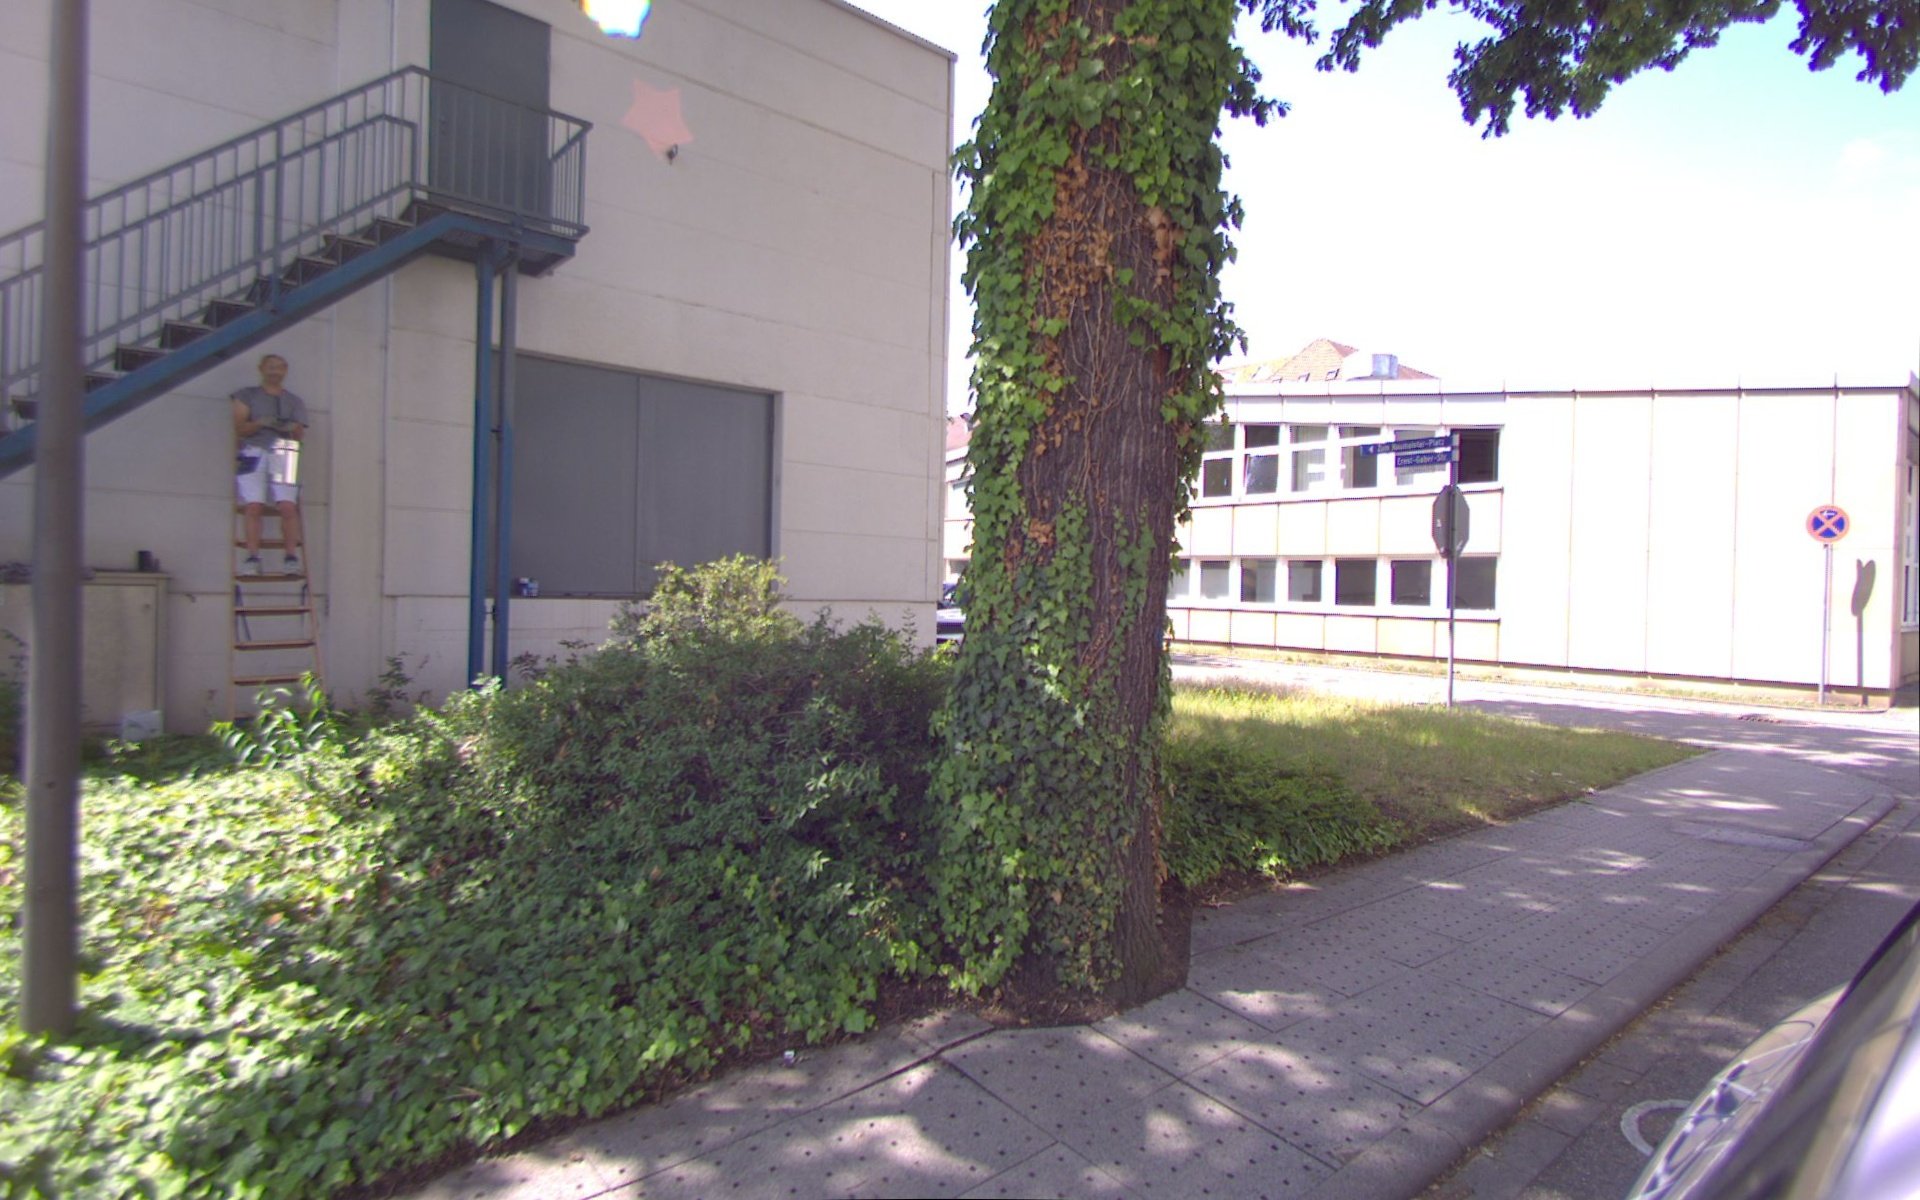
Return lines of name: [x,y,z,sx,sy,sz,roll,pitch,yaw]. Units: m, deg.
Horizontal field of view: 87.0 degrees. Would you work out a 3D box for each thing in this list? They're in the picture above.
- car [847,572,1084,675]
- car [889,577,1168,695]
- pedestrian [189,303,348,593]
car: [0.161,0.354,17.827,3.929,1.598,1.829,0,1,-40]
car: [1.104,0.460,14.934,4.108,1.495,1.670,0,1,-41]
pedestrian: [-5.337,-1.094,7.814,0.932,2.039,0.930,1,1,-37]
